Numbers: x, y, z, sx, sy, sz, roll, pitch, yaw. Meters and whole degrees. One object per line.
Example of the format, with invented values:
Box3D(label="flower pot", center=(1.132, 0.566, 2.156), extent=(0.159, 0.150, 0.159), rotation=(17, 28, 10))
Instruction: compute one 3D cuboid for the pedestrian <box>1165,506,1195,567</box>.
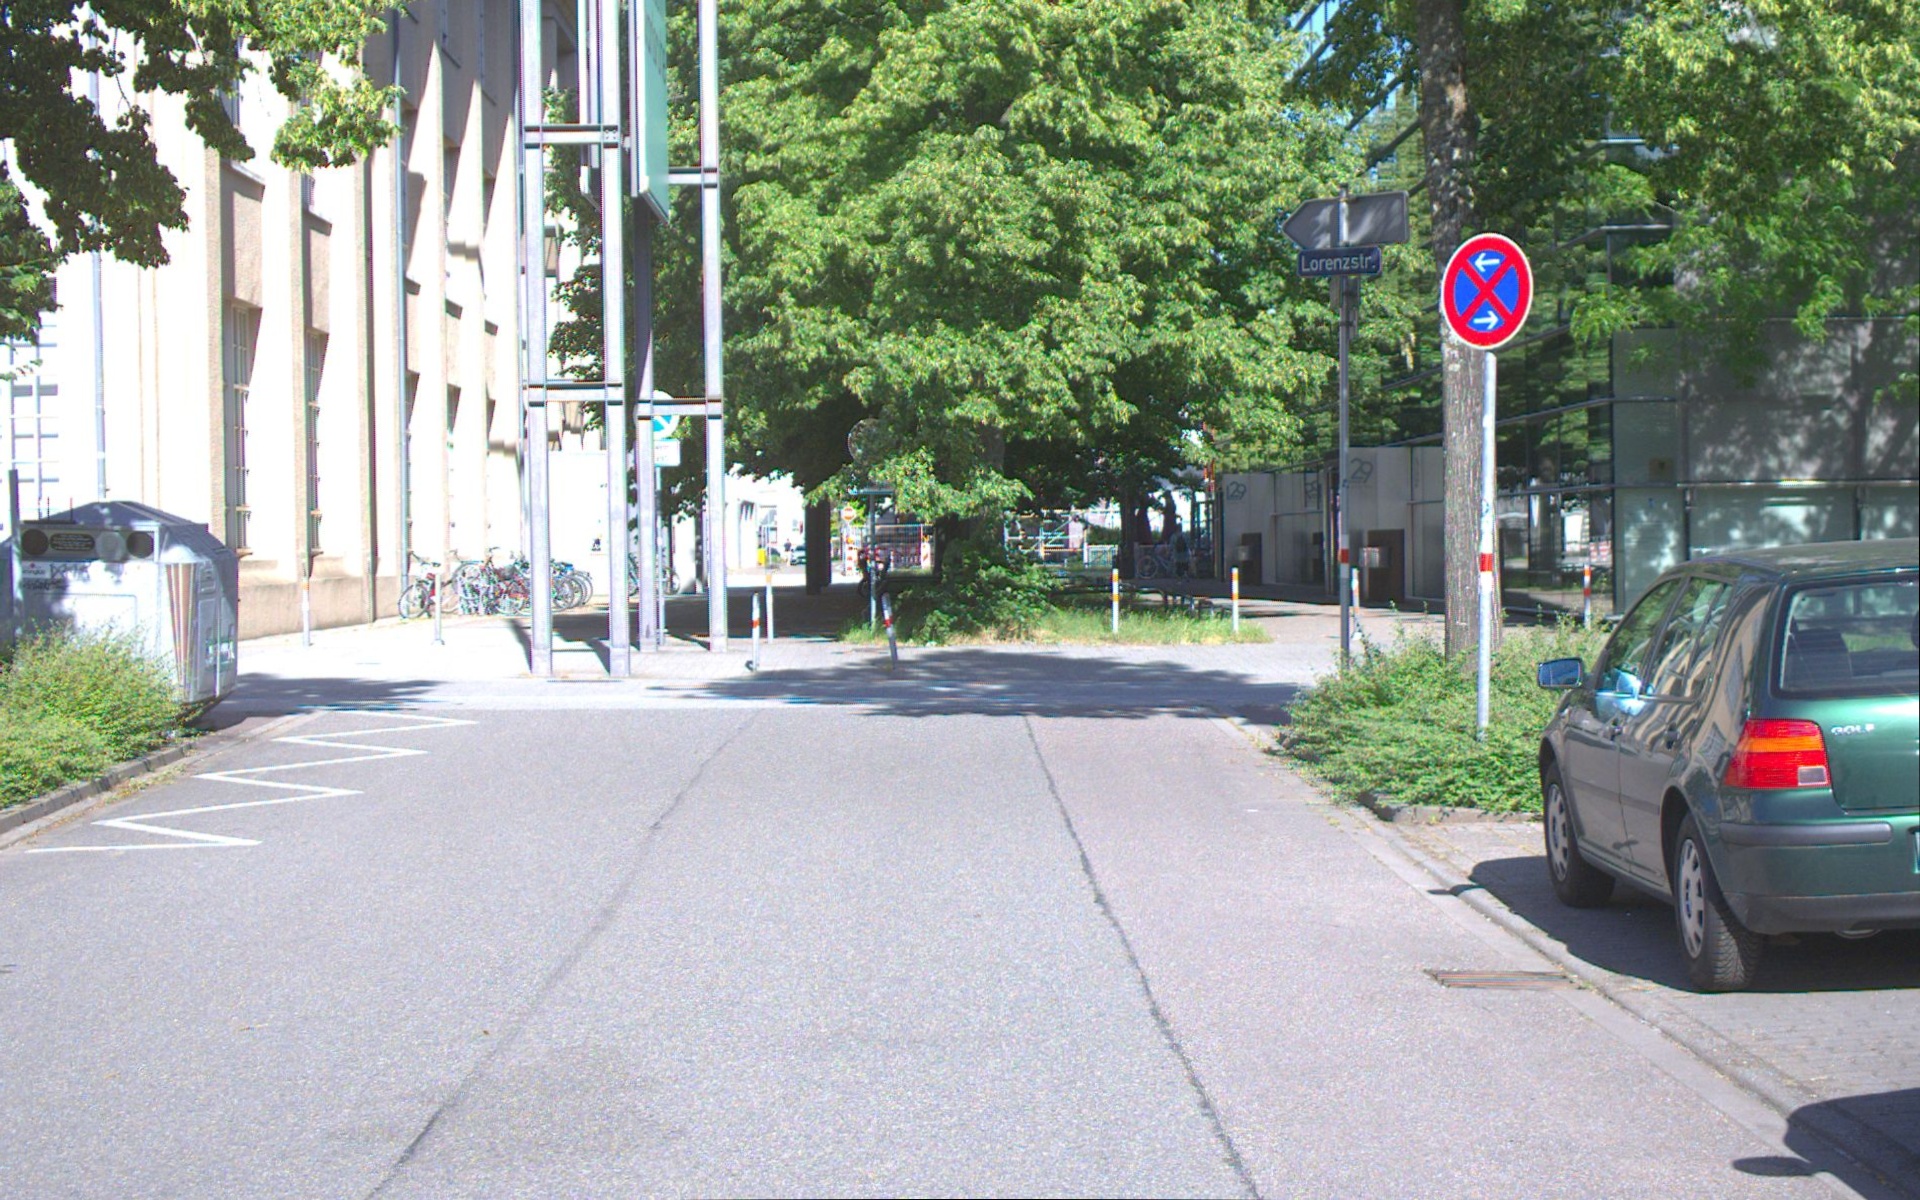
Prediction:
Box3D(label="pedestrian", center=(5.550, -1.609, 86.877), extent=(0.717, 1.545, 0.690), rotation=(-1, 1, 6))

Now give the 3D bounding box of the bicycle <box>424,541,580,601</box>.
Box3D(label="bicycle", center=(-8.443, -0.537, 63.459), extent=(2.800, 1.059, 0.719), rotation=(-1, 1, -5))

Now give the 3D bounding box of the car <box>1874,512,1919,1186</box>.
Box3D(label="car", center=(3.093, 0.583, 5.991), extent=(1.783, 1.510, 4.001), rotation=(-1, 1, -2))

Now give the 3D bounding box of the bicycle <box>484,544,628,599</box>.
Box3D(label="bicycle", center=(-7.986, -0.566, 68.016), extent=(2.800, 1.059, 0.719), rotation=(-1, 1, -5))

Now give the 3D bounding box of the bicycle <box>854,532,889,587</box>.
Box3D(label="bicycle", center=(-2.008, -0.922, 77.422), extent=(0.619, 1.193, 2.132), rotation=(-1, 1, -6))

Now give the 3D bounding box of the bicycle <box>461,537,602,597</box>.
Box3D(label="bicycle", center=(-8.769, -0.679, 70.414), extent=(2.800, 1.147, 0.719), rotation=(-1, 1, -5))

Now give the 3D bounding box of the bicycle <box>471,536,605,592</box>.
Box3D(label="bicycle", center=(-8.804, -0.755, 71.771), extent=(2.731, 1.147, 0.719), rotation=(-1, 1, -5))

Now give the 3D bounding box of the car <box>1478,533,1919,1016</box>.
Box3D(label="car", center=(3.160, 0.494, 12.711), extent=(1.746, 1.417, 4.424), rotation=(-3, 1, 0))

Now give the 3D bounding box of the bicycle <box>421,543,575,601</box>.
Box3D(label="bicycle", center=(-8.739, -0.526, 65.076), extent=(2.800, 1.059, 0.719), rotation=(-1, 1, 0))

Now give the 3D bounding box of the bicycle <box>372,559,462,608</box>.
Box3D(label="bicycle", center=(-9.556, -0.303, 60.621), extent=(0.778, 0.789, 2.883), rotation=(0, 1, 7))

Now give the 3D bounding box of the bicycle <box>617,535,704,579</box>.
Box3D(label="bicycle", center=(-7.300, -1.048, 83.830), extent=(2.058, 1.062, 0.506), rotation=(-1, 1, 2))

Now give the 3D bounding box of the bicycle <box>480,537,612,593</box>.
Box3D(label="bicycle", center=(-8.728, -0.739, 72.561), extent=(2.731, 1.147, 0.719), rotation=(-1, 1, -5))

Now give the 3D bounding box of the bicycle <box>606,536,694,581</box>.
Box3D(label="bicycle", center=(-7.496, -1.004, 83.165), extent=(2.058, 1.062, 0.506), rotation=(-1, 1, 2))
